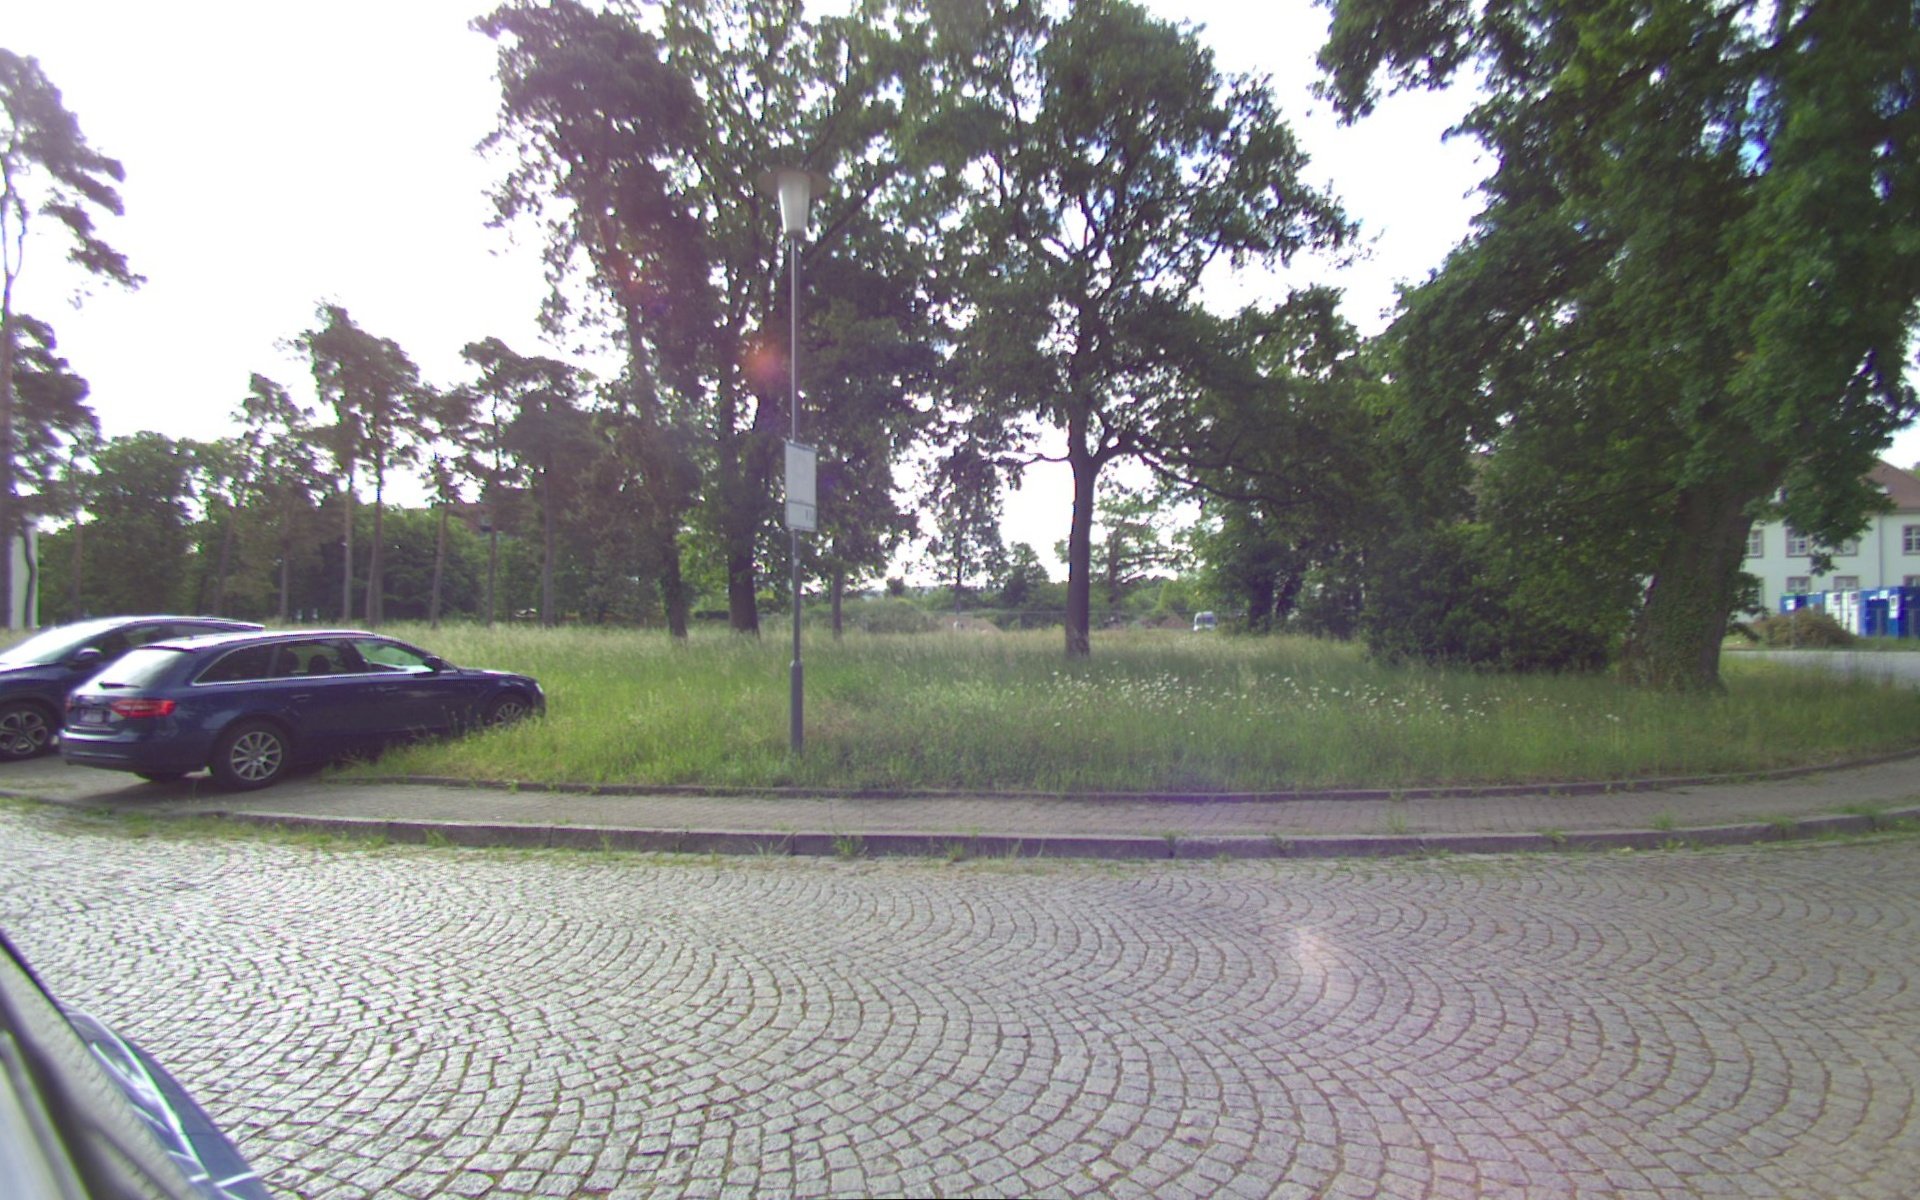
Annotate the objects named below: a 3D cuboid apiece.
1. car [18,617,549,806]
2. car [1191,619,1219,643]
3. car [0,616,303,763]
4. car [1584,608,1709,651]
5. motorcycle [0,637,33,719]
[{"bbox_3d":[-6.702,0.960,10.631,1.674,1.491,4.404,-1,-1,28],"label":"car"},{"bbox_3d":[23.225,2.897,95.758,2.025,2.028,4.199,0,2,22],"label":"car"},{"bbox_3d":[-10.907,1.023,12.767,1.779,1.585,4.119,0,0,23],"label":"car"},{"bbox_3d":[38.486,1.620,56.957,5.500,2.224,2.109,0,2,25],"label":"car"},{"bbox_3d":[-15.975,1.249,15.644,0.739,1.298,2.344,-1,-1,24],"label":"motorcycle"}]
